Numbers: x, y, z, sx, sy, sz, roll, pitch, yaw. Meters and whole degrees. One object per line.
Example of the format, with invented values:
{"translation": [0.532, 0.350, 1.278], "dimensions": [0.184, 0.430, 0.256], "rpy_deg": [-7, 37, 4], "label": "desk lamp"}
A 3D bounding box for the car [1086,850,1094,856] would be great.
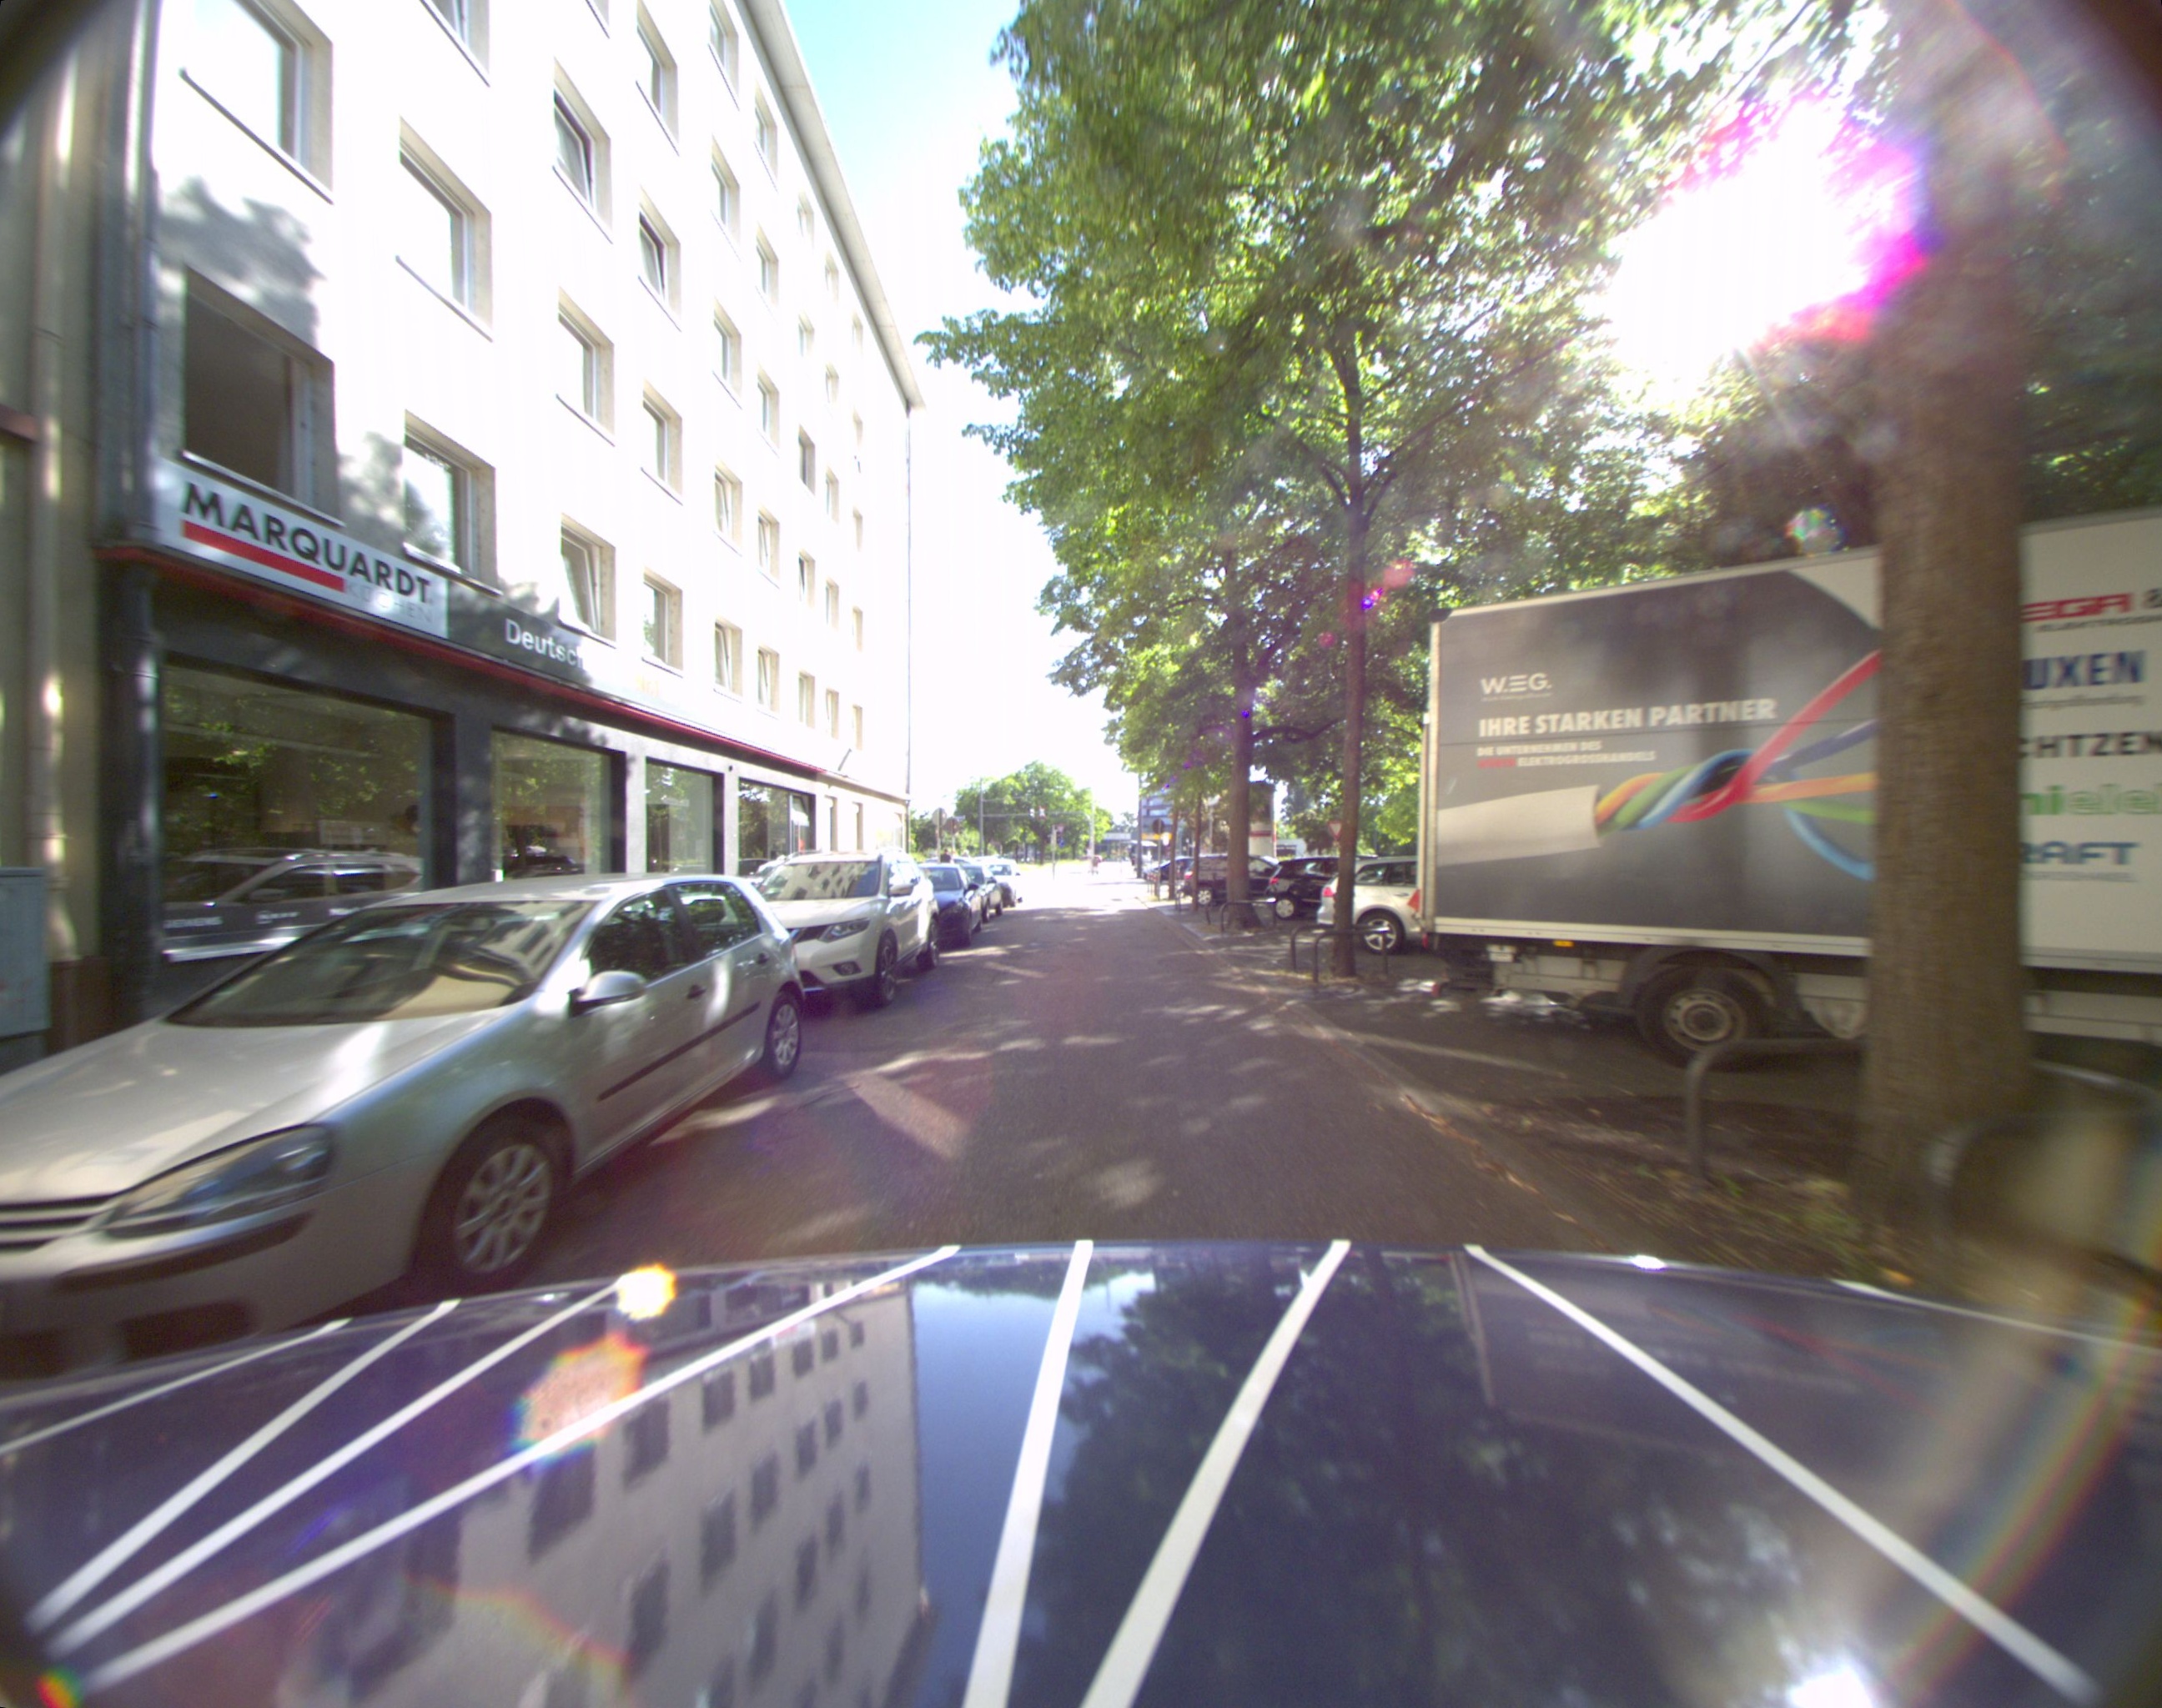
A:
{"translation": [2.632, -0.181, 213.923], "dimensions": [1.999, 1.652, 4.483], "rpy_deg": [0, 0, -2], "label": "car"}

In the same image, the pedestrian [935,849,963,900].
{"translation": [-4.511, 0.700, 25.929], "dimensions": [0.760, 1.712, 0.745], "rpy_deg": [0, 1, 7], "label": "pedestrian"}

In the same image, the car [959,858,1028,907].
{"translation": [-2.811, 0.888, 25.294], "dimensions": [1.723, 1.489, 4.023], "rpy_deg": [0, 0, 2], "label": "car"}

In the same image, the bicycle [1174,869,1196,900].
{"translation": [3.872, 1.127, 28.332], "dimensions": [0.354, 1.066, 1.591], "rpy_deg": [0, 1, -10], "label": "bicycle"}

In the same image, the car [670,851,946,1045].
{"translation": [-2.875, 0.847, 9.166], "dimensions": [1.766, 1.743, 4.509], "rpy_deg": [0, 0, -1], "label": "car"}

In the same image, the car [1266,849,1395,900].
{"translation": [8.441, 0.649, 25.685], "dimensions": [3.990, 1.601, 1.925], "rpy_deg": [0, 1, 22], "label": "car"}

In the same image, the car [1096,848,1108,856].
{"translation": [4.126, -0.310, 149.253], "dimensions": [1.998, 1.543, 4.486], "rpy_deg": [0, 0, 5], "label": "car"}

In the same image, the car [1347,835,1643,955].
{"translation": [7.420, 0.628, 13.859], "dimensions": [4.490, 1.862, 1.940], "rpy_deg": [0, 1, 34], "label": "car"}

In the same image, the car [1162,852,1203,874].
{"translation": [7.256, 0.618, 54.050], "dimensions": [1.679, 1.499, 3.603], "rpy_deg": [-2, -1, 29], "label": "car"}

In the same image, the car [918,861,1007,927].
{"translation": [-2.902, 0.939, 19.333], "dimensions": [1.600, 1.455, 3.672], "rpy_deg": [0, 0, 2], "label": "car"}

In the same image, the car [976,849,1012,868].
{"translation": [-7.153, 0.380, 63.007], "dimensions": [1.921, 1.510, 5.039], "rpy_deg": [0, 0, 6], "label": "car"}

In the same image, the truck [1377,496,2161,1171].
{"translation": [5.973, -0.096, 4.735], "dimensions": [7.304, 3.274, 2.552], "rpy_deg": [1, 1, 32], "label": "truck"}

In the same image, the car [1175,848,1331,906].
{"translation": [5.316, 0.722, 23.605], "dimensions": [4.325, 1.661, 1.841], "rpy_deg": [-2, 0, 30], "label": "car"}

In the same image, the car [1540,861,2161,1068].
{"translation": [7.063, 0.836, 7.399], "dimensions": [4.331, 1.498, 1.817], "rpy_deg": [0, 1, 34], "label": "car"}

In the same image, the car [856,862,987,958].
{"translation": [-2.827, 0.914, 14.411], "dimensions": [1.807, 1.455, 4.438], "rpy_deg": [0, 0, -4], "label": "car"}

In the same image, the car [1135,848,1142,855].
{"translation": [16.887, -0.710, 223.552], "dimensions": [1.998, 2.002, 4.000], "rpy_deg": [0, 0, 2], "label": "car"}

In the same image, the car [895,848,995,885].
{"translation": [-6.689, 0.601, 37.427], "dimensions": [4.476, 1.765, 1.876], "rpy_deg": [0, 0, 15], "label": "car"}

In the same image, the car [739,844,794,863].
{"translation": [-24.562, -0.023, 59.554], "dimensions": [1.871, 1.447, 4.488], "rpy_deg": [0, 0, 9], "label": "car"}

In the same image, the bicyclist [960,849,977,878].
{"translation": [-6.119, 0.512, 41.283], "dimensions": [0.829, 1.555, 0.595], "rpy_deg": [0, 1, -21], "label": "bicyclist"}

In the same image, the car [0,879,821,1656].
{"translation": [-2.893, 0.954, 3.724], "dimensions": [1.766, 1.491, 4.237], "rpy_deg": [0, 0, 0], "label": "car"}

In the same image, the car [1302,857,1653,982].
{"translation": [5.703, 0.813, 11.237], "dimensions": [4.331, 1.498, 1.817], "rpy_deg": [0, 1, 34], "label": "car"}

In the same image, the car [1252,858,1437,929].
{"translation": [6.096, 0.841, 17.628], "dimensions": [3.813, 1.472, 1.765], "rpy_deg": [0, 1, 29], "label": "car"}

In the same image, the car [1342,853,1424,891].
{"translation": [12.945, 0.741, 32.905], "dimensions": [1.907, 1.510, 4.300], "rpy_deg": [0, 0, 1], "label": "car"}
